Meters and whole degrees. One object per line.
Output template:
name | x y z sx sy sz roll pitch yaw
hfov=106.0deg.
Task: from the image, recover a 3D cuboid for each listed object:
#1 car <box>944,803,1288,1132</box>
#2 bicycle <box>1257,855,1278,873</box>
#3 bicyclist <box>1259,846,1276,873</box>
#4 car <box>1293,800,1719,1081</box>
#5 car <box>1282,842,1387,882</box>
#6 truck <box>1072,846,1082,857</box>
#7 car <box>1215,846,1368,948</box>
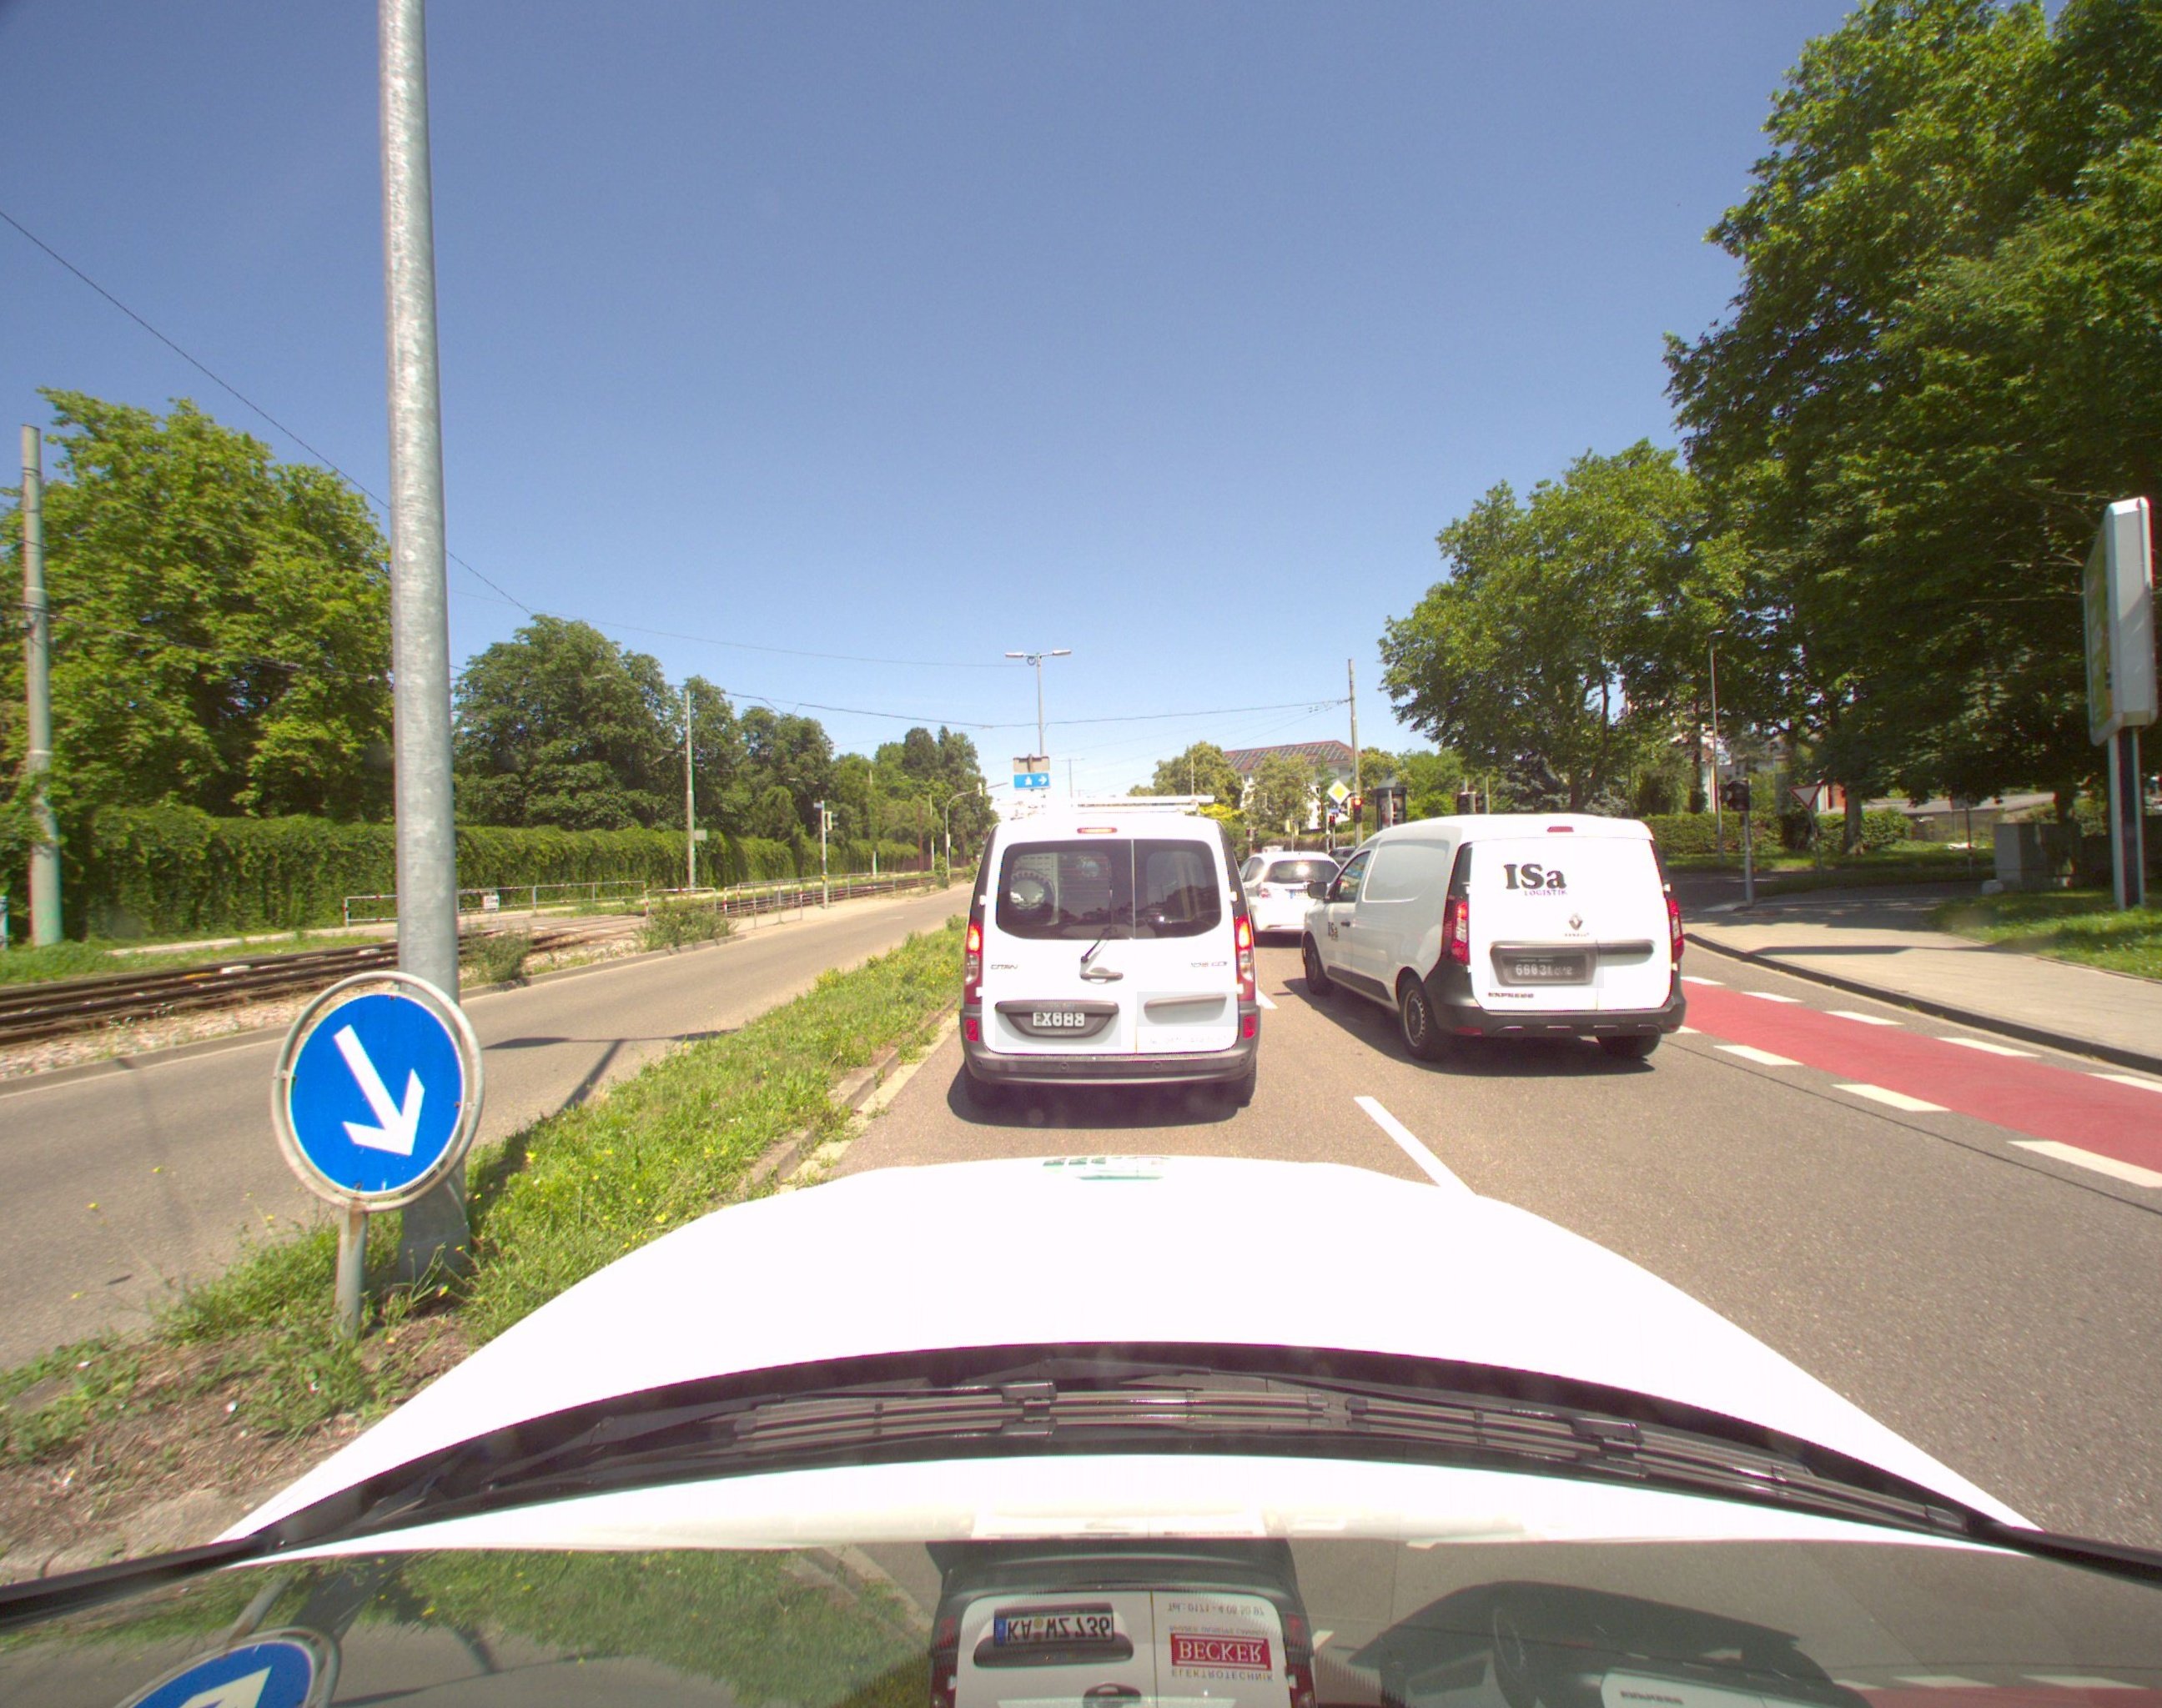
car | 0.255 0.618 6.544 1.814 1.740 4.398 -1 0 2
bicycle | 12.621 0.666 55.261 0.890 1.159 1.954 -2 -1 -3
bicyclist | 12.652 0.376 55.238 0.971 1.788 0.725 -2 -1 -3
car | 3.261 0.562 7.269 1.721 1.788 4.065 0 0 1
car | 10.272 0.323 33.212 3.958 1.597 1.706 -1 0 15
truck | -1.043 -0.563 193.517 2.131 2.587 5.891 0 -1 2
car | 3.611 0.654 14.702 1.828 1.568 4.002 0 0 2
